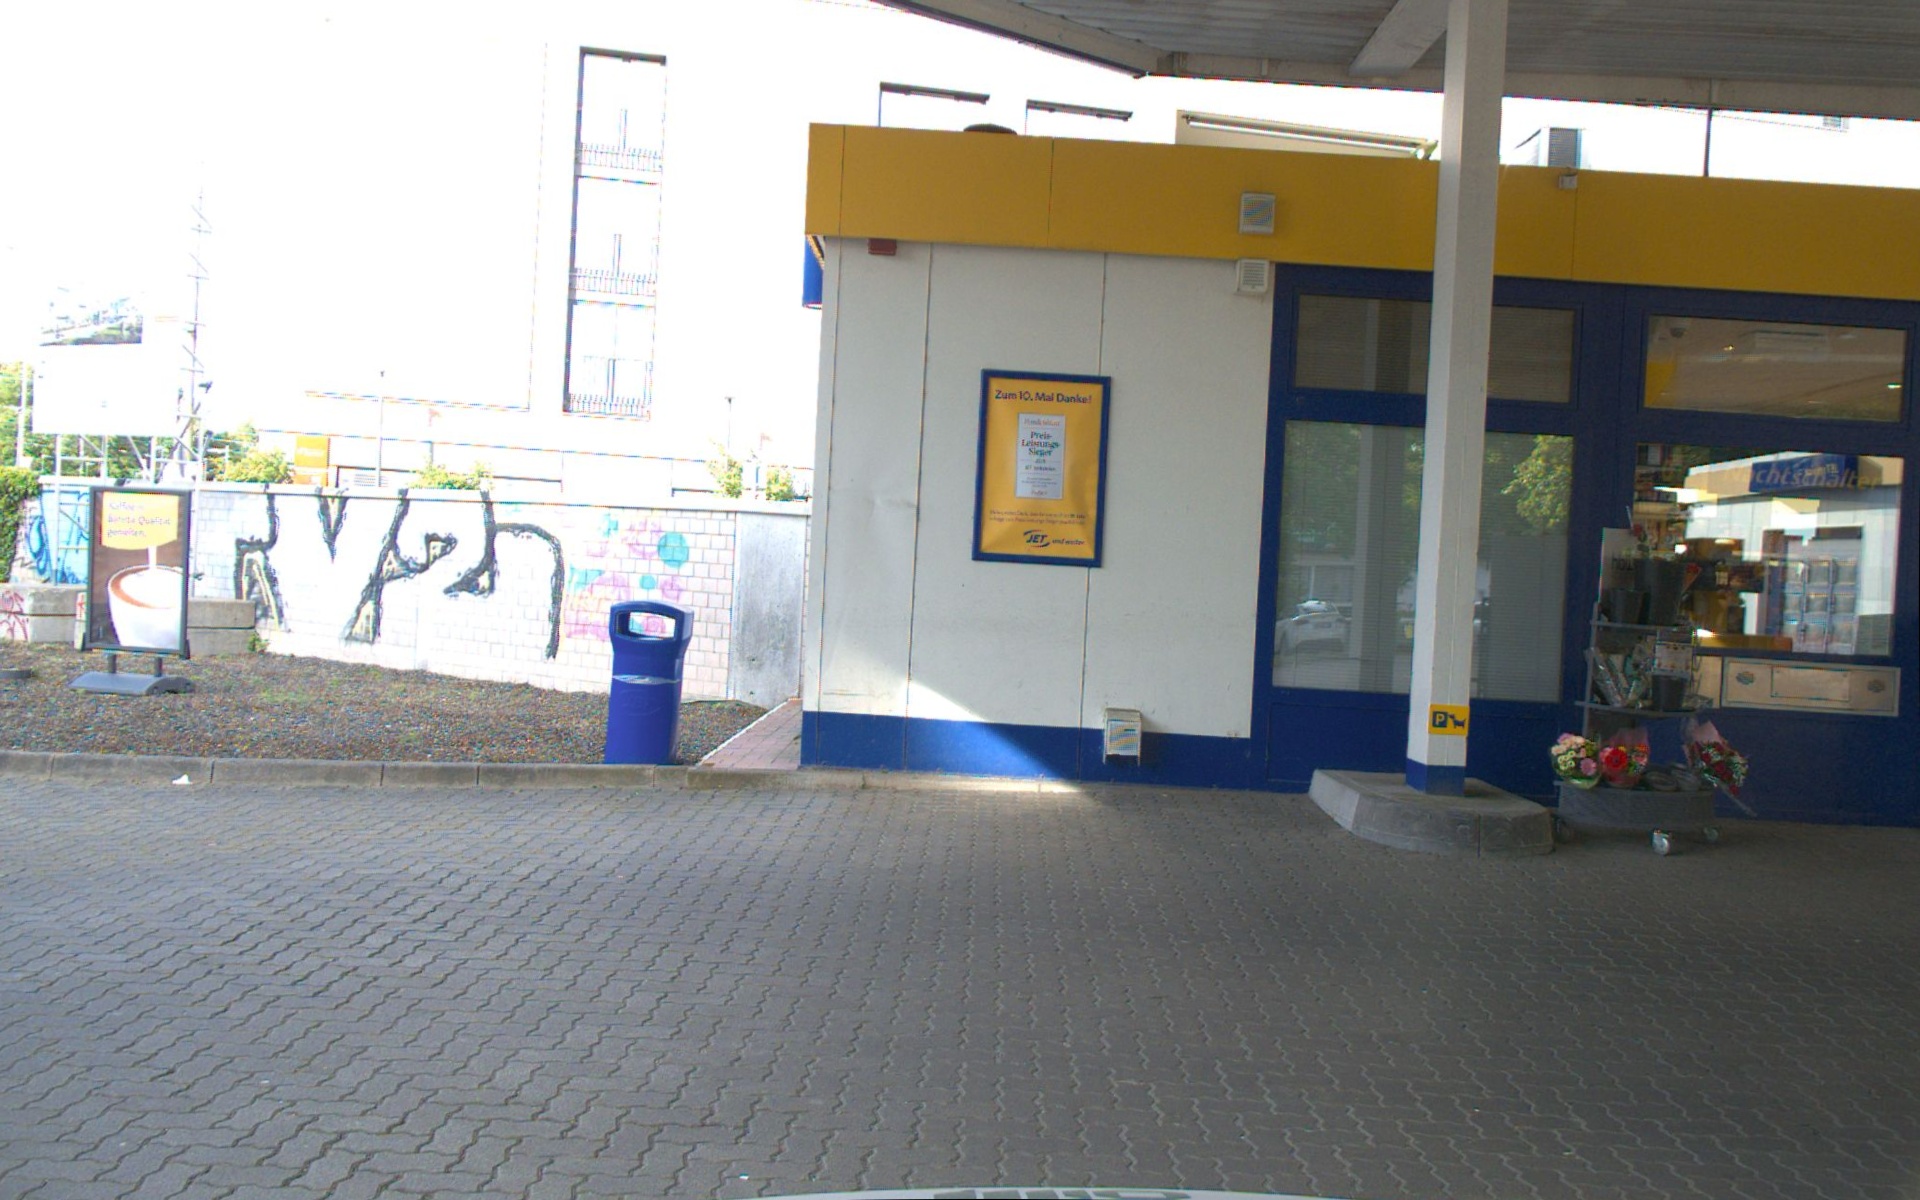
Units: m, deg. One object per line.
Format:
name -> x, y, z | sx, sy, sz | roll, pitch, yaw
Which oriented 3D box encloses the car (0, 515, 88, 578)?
car -> -25.452, -1.487, 45.500 | 1.736, 1.569, 4.112 | 4, 1, -17
